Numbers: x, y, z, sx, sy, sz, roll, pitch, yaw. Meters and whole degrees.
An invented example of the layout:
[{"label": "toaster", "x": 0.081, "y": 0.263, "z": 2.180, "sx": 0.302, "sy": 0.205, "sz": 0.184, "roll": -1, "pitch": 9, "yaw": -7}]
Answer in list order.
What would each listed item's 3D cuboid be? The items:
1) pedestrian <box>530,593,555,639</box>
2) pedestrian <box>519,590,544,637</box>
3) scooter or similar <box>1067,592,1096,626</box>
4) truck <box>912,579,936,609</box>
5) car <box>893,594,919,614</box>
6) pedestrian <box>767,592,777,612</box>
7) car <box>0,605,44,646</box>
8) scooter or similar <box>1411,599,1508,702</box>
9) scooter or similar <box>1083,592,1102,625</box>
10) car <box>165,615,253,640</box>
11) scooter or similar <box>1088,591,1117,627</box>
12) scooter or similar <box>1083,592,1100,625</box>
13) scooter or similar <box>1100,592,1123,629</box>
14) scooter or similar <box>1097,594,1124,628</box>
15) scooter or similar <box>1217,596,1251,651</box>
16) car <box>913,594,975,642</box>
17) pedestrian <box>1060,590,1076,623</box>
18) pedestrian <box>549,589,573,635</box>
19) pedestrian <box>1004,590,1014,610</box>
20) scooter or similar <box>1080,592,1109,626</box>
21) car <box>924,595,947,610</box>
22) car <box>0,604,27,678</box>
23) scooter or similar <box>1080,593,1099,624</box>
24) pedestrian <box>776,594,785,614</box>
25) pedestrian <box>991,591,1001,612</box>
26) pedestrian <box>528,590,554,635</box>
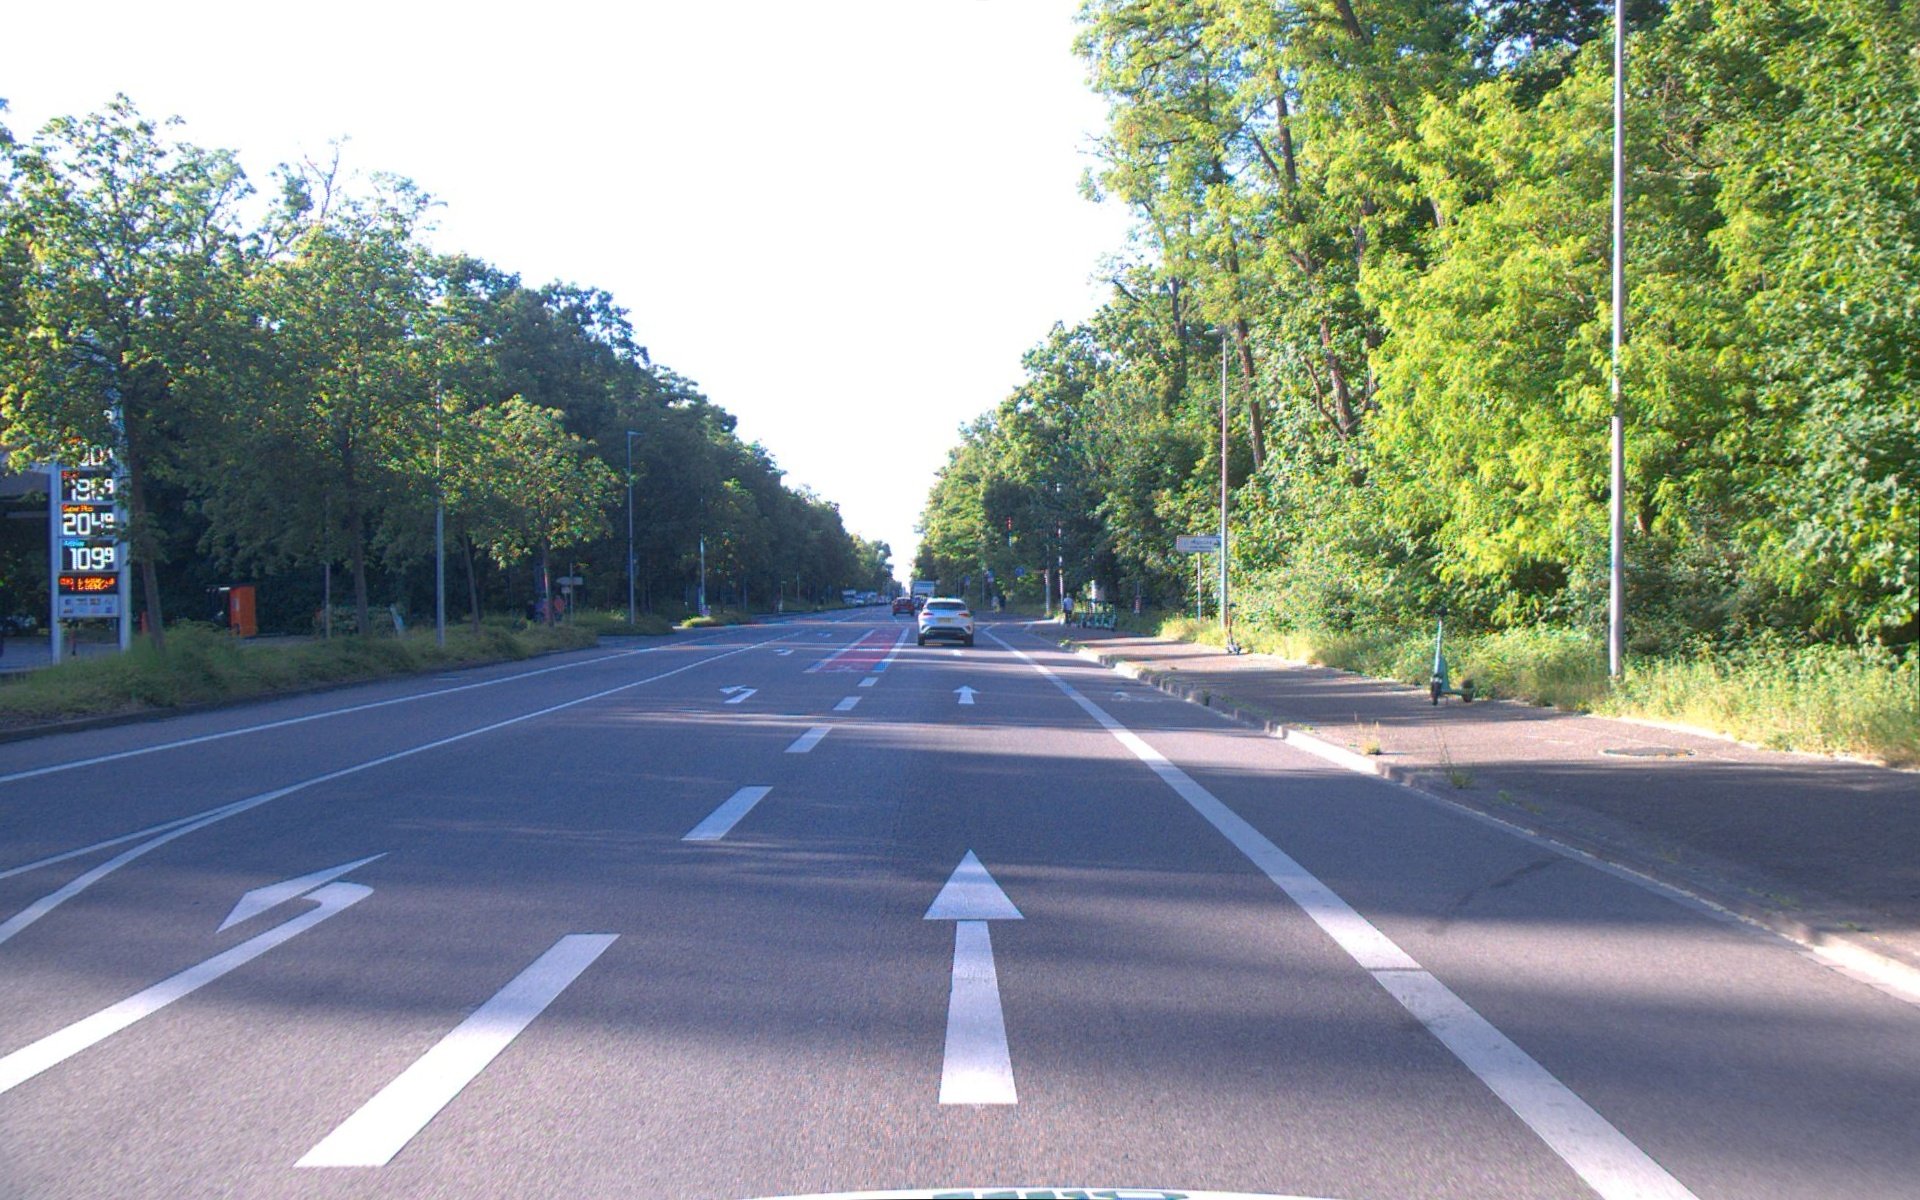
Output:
[{"label": "pedestrian", "x": -18.536, "y": 0.707, "z": 73.473, "sx": 0.702, "sy": 2.049, "sz": 0.797, "roll": -1, "pitch": 0, "yaw": 22}, {"label": "pedestrian", "x": -18.846, "y": 0.607, "z": 72.713, "sx": 0.702, "sy": 2.049, "sz": 0.797, "roll": -1, "pitch": 0, "yaw": 22}, {"label": "scooter or similar", "x": 5.349, "y": 0.380, "z": 72.855, "sx": 0.671, "sy": 1.448, "sz": 1.674, "roll": -1, "pitch": 0, "yaw": -17}, {"label": "truck", "x": -4.562, "y": -0.732, "z": 206.811, "sx": 2.743, "sy": 3.632, "sz": 8.030, "roll": 0, "pitch": 0, "yaw": -3}, {"label": "car", "x": -4.348, "y": 0.276, "z": 133.613, "sx": 1.953, "sy": 1.545, "sz": 3.999, "roll": -1, "pitch": 0, "yaw": -1}, {"label": "pedestrian", "x": -19.594, "y": 0.180, "z": 172.459, "sx": 0.846, "sy": 2.049, "sz": 1.269, "roll": -1, "pitch": 0, "yaw": -1}, {"label": "car", "x": -45.551, "y": 1.177, "z": 78.380, "sx": 1.953, "sy": 1.852, "sz": 4.270, "roll": 1, "pitch": 0, "yaw": -1}, {"label": "scooter or similar", "x": 6.522, "y": 0.639, "z": 21.554, "sx": 1.530, "sy": 1.272, "sz": 0.526, "roll": -1, "pitch": 0, "yaw": -45}, {"label": "scooter or similar", "x": 5.954, "y": 0.356, "z": 74.180, "sx": 0.668, "sy": 1.448, "sz": 1.681, "roll": -1, "pitch": 0, "yaw": -1}, {"label": "car", "x": -44.050, "y": 1.615, "z": 97.103, "sx": 1.957, "sy": 1.337, "sz": 4.405, "roll": -1, "pitch": 0, "yaw": 30}, {"label": "scooter or similar", "x": 5.941, "y": 0.380, "z": 69.116, "sx": 0.670, "sy": 1.448, "sz": 1.675, "roll": -1, "pitch": 0, "yaw": -15}, {"label": "scooter or similar", "x": 6.026, "y": 0.387, "z": 75.694, "sx": 0.667, "sy": 1.448, "sz": 1.246, "roll": -1, "pitch": 0, "yaw": 7}, {"label": "scooter or similar", "x": 5.957, "y": 0.399, "z": 65.165, "sx": 0.668, "sy": 1.448, "sz": 1.681, "roll": -1, "pitch": 0, "yaw": -2}, {"label": "scooter or similar", "x": 6.093, "y": 0.450, "z": 67.022, "sx": 0.459, "sy": 1.329, "sz": 1.470, "roll": -1, "pitch": 0, "yaw": -23}, {"label": "scooter or similar", "x": 6.519, "y": 0.544, "z": 39.408, "sx": 0.522, "sy": 1.272, "sz": 1.541, "roll": -1, "pitch": 0, "yaw": -1}, {"label": "car", "x": -0.540, "y": 0.556, "z": 53.653, "sx": 1.727, "sy": 1.485, "sz": 3.814, "roll": 1, "pitch": 0, "yaw": -5}, {"label": "pedestrian", "x": 5.306, "y": 0.296, "z": 81.191, "sx": 0.739, "sy": 1.591, "sz": 0.803, "roll": -1, "pitch": 0, "yaw": 3}, {"label": "pedestrian", "x": -18.171, "y": 0.544, "z": 75.336, "sx": 0.703, "sy": 2.049, "sz": 0.746, "roll": -1, "pitch": 0, "yaw": 30}, {"label": "pedestrian", "x": 4.009, "y": 0.008, "z": 135.973, "sx": 0.728, "sy": 1.627, "sz": 0.797, "roll": -1, "pitch": 0, "yaw": -2}, {"label": "scooter or similar", "x": 5.782, "y": 0.377, "z": 71.185, "sx": 0.671, "sy": 1.448, "sz": 1.674, "roll": -1, "pitch": 0, "yaw": -17}, {"label": "car", "x": -2.412, "y": 0.254, "z": 163.099, "sx": 1.955, "sy": 1.350, "sz": 3.996, "roll": -1, "pitch": 0, "yaw": -5}, {"label": "car", "x": -23.056, "y": 0.982, "z": 37.394, "sx": 1.677, "sy": 1.721, "sz": 4.449, "roll": -1, "pitch": 0, "yaw": -5}, {"label": "scooter or similar", "x": 6.040, "y": 0.389, "z": 77.234, "sx": 0.668, "sy": 1.448, "sz": 1.681, "roll": -1, "pitch": 0, "yaw": -1}, {"label": "pedestrian", "x": -18.701, "y": 0.456, "z": 172.478, "sx": 0.814, "sy": 2.049, "sz": 1.269, "roll": -1, "pitch": 0, "yaw": 0}, {"label": "pedestrian", "x": 2.969, "y": 0.108, "z": 135.928, "sx": 0.684, "sy": 1.682, "sz": 0.876, "roll": -1, "pitch": 0, "yaw": -2}, {"label": "pedestrian", "x": -18.960, "y": 0.562, "z": 74.879, "sx": 0.703, "sy": 2.049, "sz": 0.873, "roll": -1, "pitch": 0, "yaw": 30}]
